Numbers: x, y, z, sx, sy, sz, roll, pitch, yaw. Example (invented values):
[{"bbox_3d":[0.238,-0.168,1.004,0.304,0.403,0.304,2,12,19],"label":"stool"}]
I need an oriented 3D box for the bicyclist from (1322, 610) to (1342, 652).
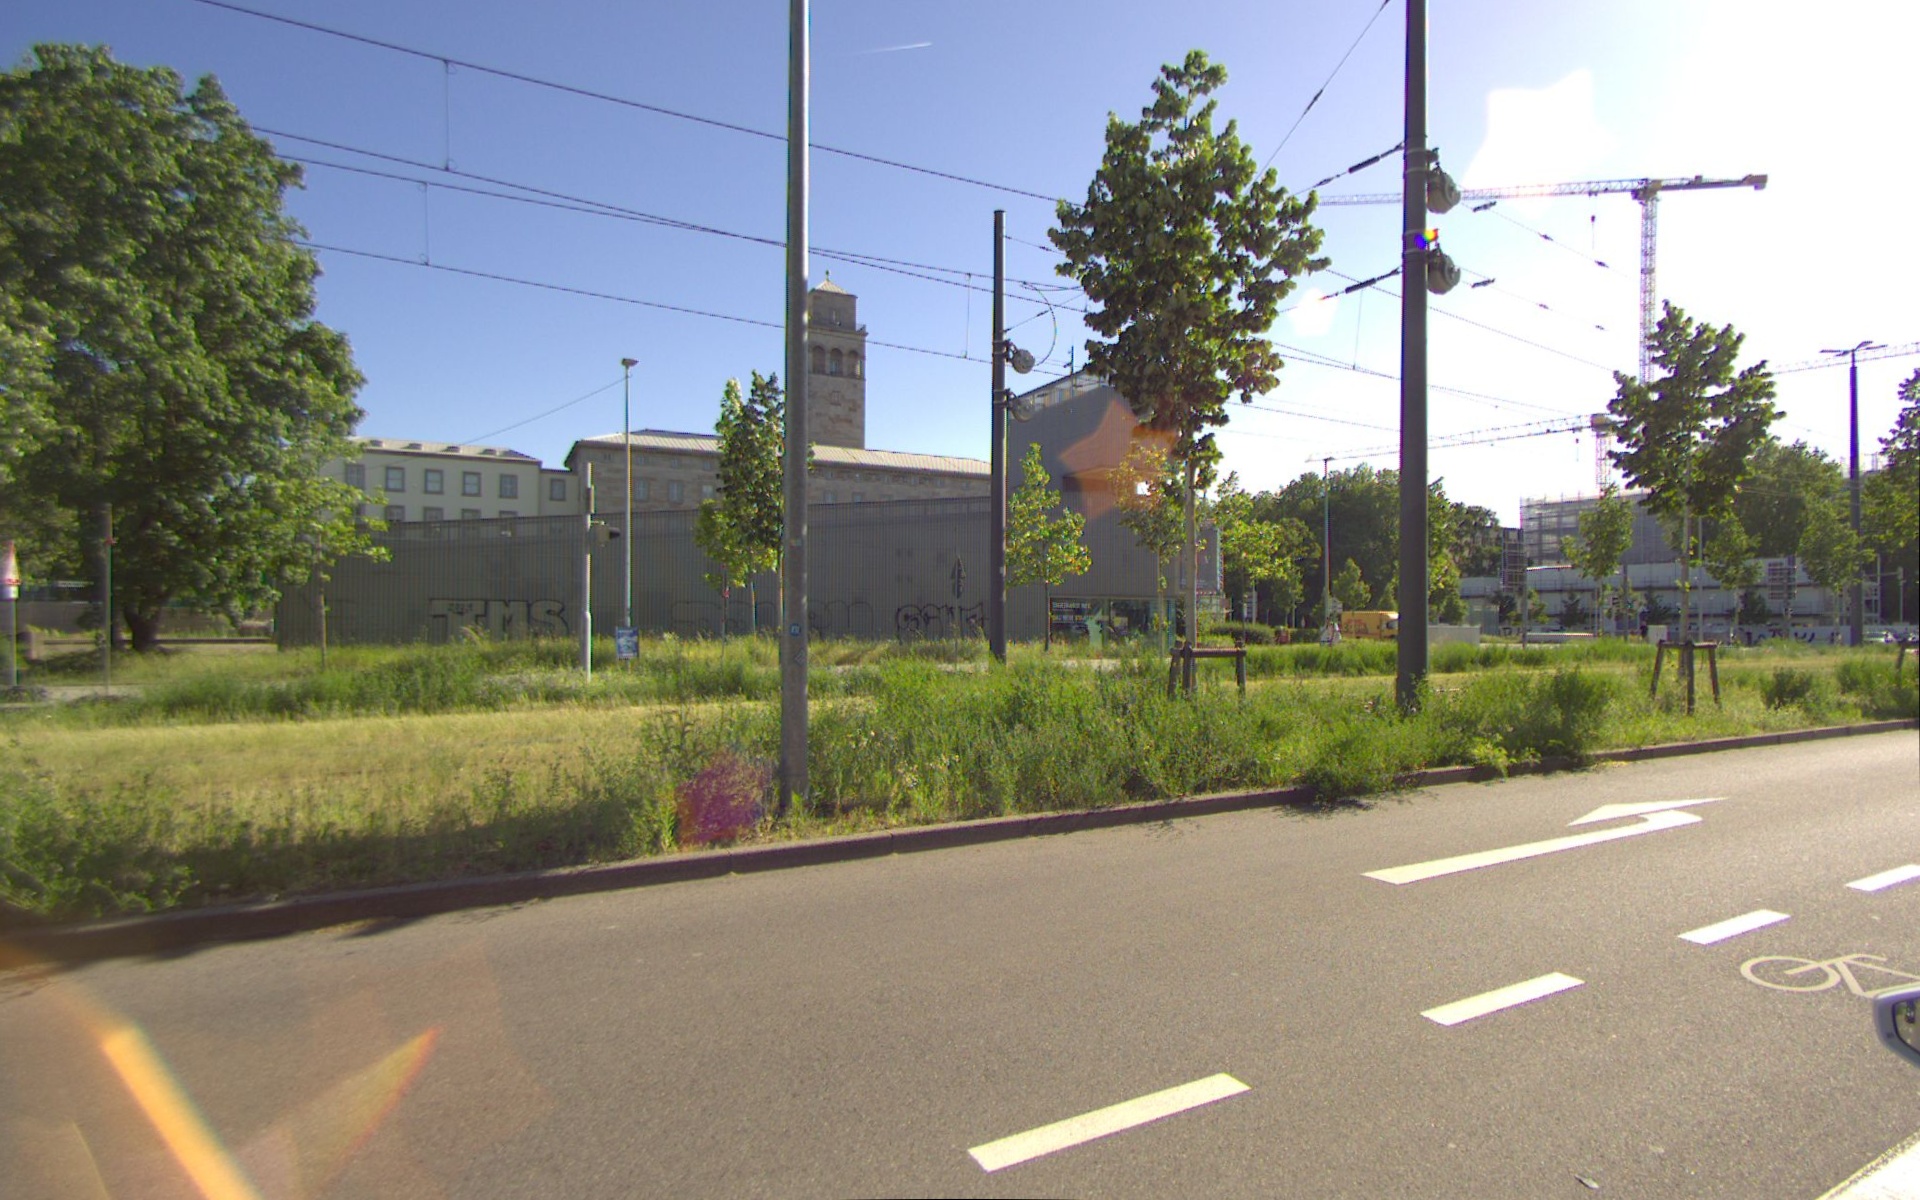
[{"bbox_3d":[13.345,1.123,36.045,0.533,1.474,0.392,1,1,-31],"label":"bicyclist"}]

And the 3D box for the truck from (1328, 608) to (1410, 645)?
[{"bbox_3d":[36.399,2.302,89.609,1.977,3.002,6.929,2,0,-30],"label":"truck"}]

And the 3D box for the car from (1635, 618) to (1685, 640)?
[{"bbox_3d":[55.329,2.328,79.425,3.953,1.577,1.702,2,0,-30],"label":"car"}]

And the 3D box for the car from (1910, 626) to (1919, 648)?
[{"bbox_3d":[76.473,2.956,78.764,3.851,1.634,1.828,2,0,-31],"label":"car"}]

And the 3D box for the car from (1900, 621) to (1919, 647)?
[{"bbox_3d":[47.868,1.709,49.504,3.183,1.194,1.369,2,0,-31],"label":"car"}]

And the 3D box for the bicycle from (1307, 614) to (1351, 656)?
[{"bbox_3d":[13.215,1.256,35.977,1.891,1.475,0.358,0,0,-30],"label":"bicycle"}]
